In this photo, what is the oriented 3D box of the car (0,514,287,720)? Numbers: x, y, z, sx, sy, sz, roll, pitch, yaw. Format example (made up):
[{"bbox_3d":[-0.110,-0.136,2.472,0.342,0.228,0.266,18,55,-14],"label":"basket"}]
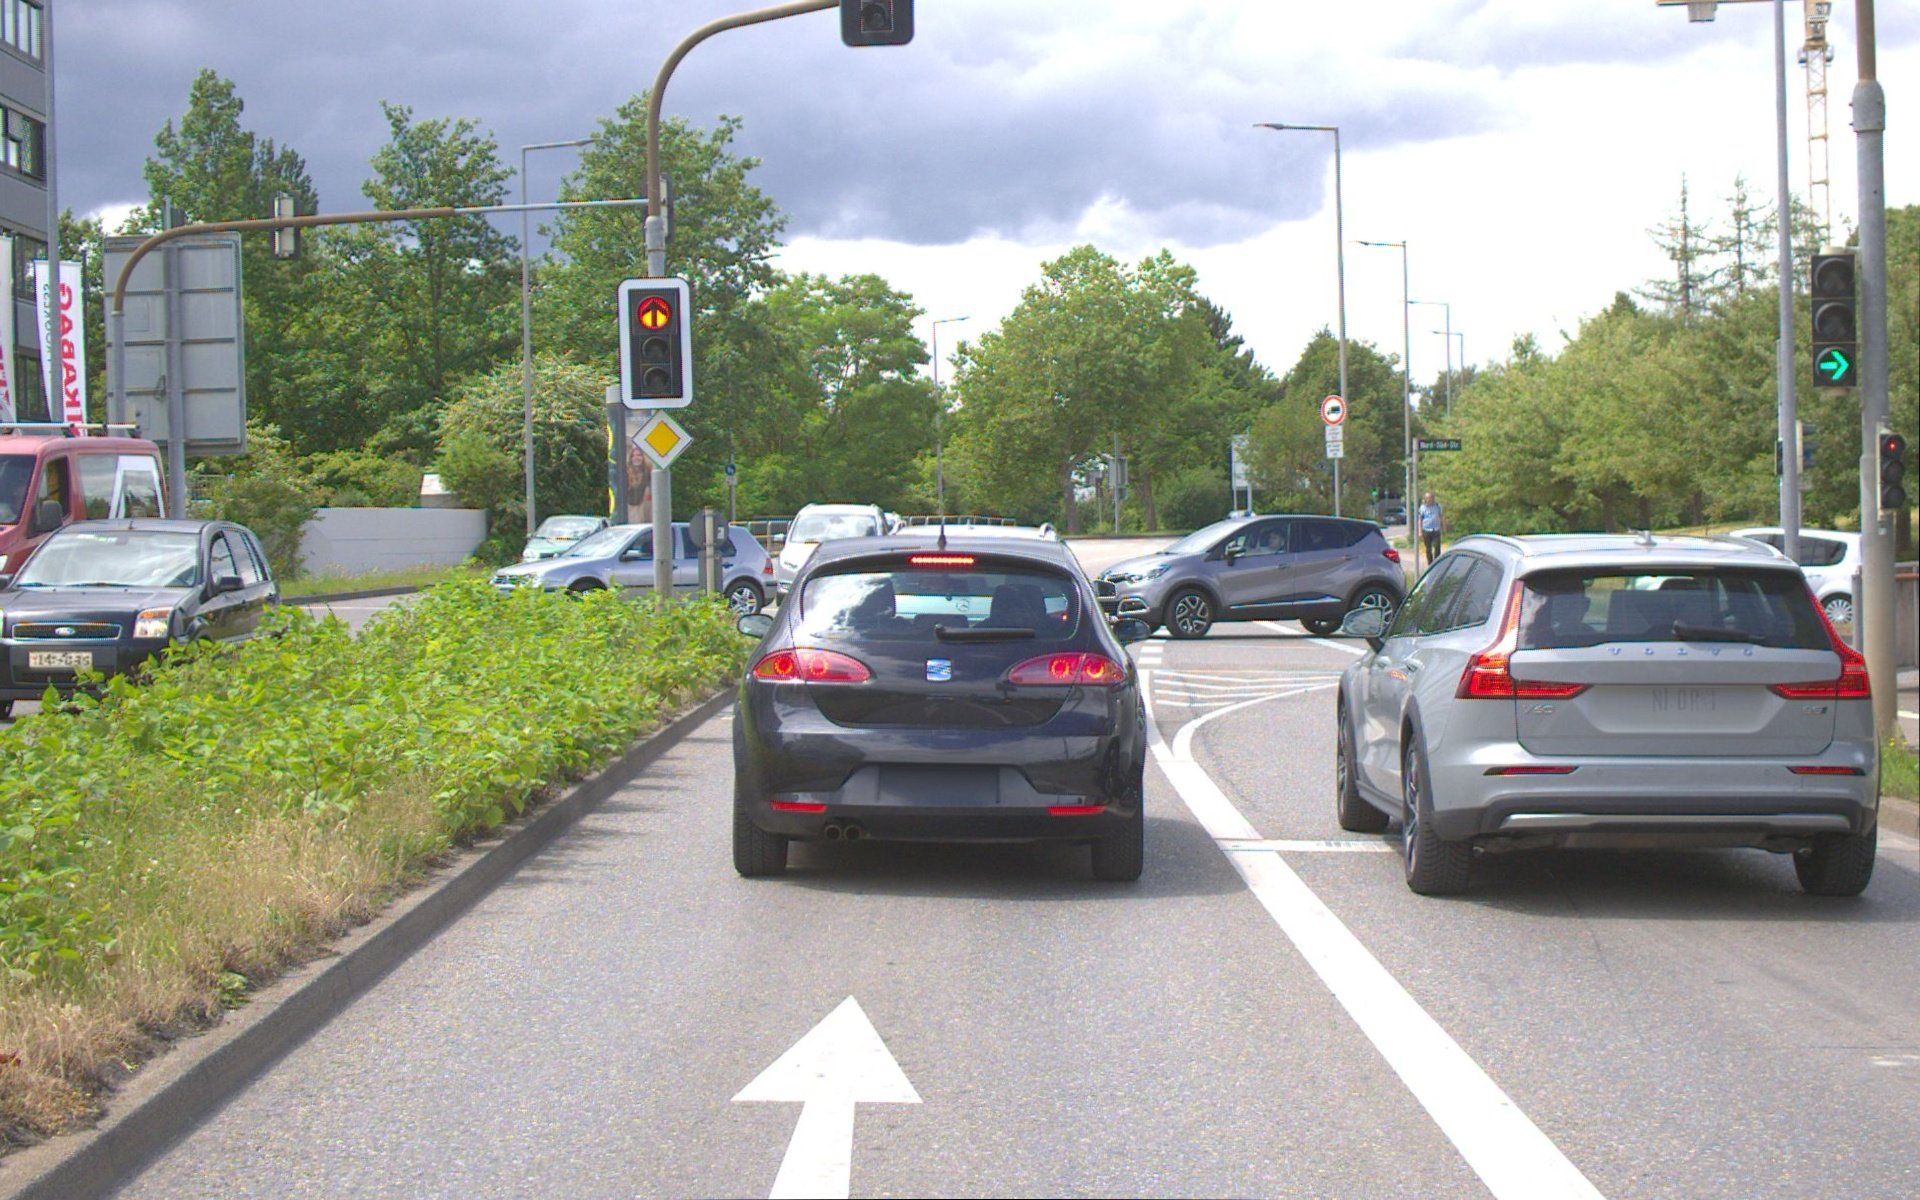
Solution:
[{"bbox_3d":[-6.463,0.071,26.762,1.678,1.477,4.000,0,1,0],"label":"car"}]

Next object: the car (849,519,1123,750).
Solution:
[{"bbox_3d":[0.116,0.183,24.592,1.773,1.486,3.583,-1,1,-2],"label":"car"}]

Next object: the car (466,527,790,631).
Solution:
[{"bbox_3d":[-4.591,-0.323,47.657,3.987,1.349,2.000,-1,2,-34],"label":"car"}]

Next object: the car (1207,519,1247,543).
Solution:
[{"bbox_3d":[15.126,-3.907,194.898,1.994,1.347,3.999,0,2,8],"label":"car"}]

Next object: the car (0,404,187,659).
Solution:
[{"bbox_3d":[-9.748,-0.698,35.062,1.994,2.404,5.240,-1,1,7],"label":"car"}]

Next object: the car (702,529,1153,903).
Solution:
[{"bbox_3d":[-0.130,0.424,15.424,1.773,1.447,3.582,1,1,0],"label":"car"}]

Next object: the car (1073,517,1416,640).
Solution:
[{"bbox_3d":[3.664,-0.305,44.484,3.986,1.511,1.942,-1,2,-17],"label":"car"}]

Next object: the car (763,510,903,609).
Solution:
[{"bbox_3d":[-2.093,-0.705,57.805,1.994,1.590,4.000,0,2,3],"label":"car"}]

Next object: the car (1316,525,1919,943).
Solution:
[{"bbox_3d":[2.714,0.456,15.124,1.863,1.513,4.447,-1,1,1],"label":"car"}]

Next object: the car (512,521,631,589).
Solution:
[{"bbox_3d":[-7.946,-0.941,70.643,1.993,1.347,4.000,0,2,0],"label":"car"}]

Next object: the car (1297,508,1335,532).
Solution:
[{"bbox_3d":[20.086,-4.502,193.773,1.994,1.347,3.999,0,2,8],"label":"car"}]

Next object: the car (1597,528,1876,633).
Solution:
[{"bbox_3d":[11.739,-0.319,51.930,3.990,1.525,1.999,0,2,17],"label":"car"}]

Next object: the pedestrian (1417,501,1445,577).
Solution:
[{"bbox_3d":[10.758,-1.389,78.506,0.559,1.720,0.588,1,1,1],"label":"pedestrian"}]
